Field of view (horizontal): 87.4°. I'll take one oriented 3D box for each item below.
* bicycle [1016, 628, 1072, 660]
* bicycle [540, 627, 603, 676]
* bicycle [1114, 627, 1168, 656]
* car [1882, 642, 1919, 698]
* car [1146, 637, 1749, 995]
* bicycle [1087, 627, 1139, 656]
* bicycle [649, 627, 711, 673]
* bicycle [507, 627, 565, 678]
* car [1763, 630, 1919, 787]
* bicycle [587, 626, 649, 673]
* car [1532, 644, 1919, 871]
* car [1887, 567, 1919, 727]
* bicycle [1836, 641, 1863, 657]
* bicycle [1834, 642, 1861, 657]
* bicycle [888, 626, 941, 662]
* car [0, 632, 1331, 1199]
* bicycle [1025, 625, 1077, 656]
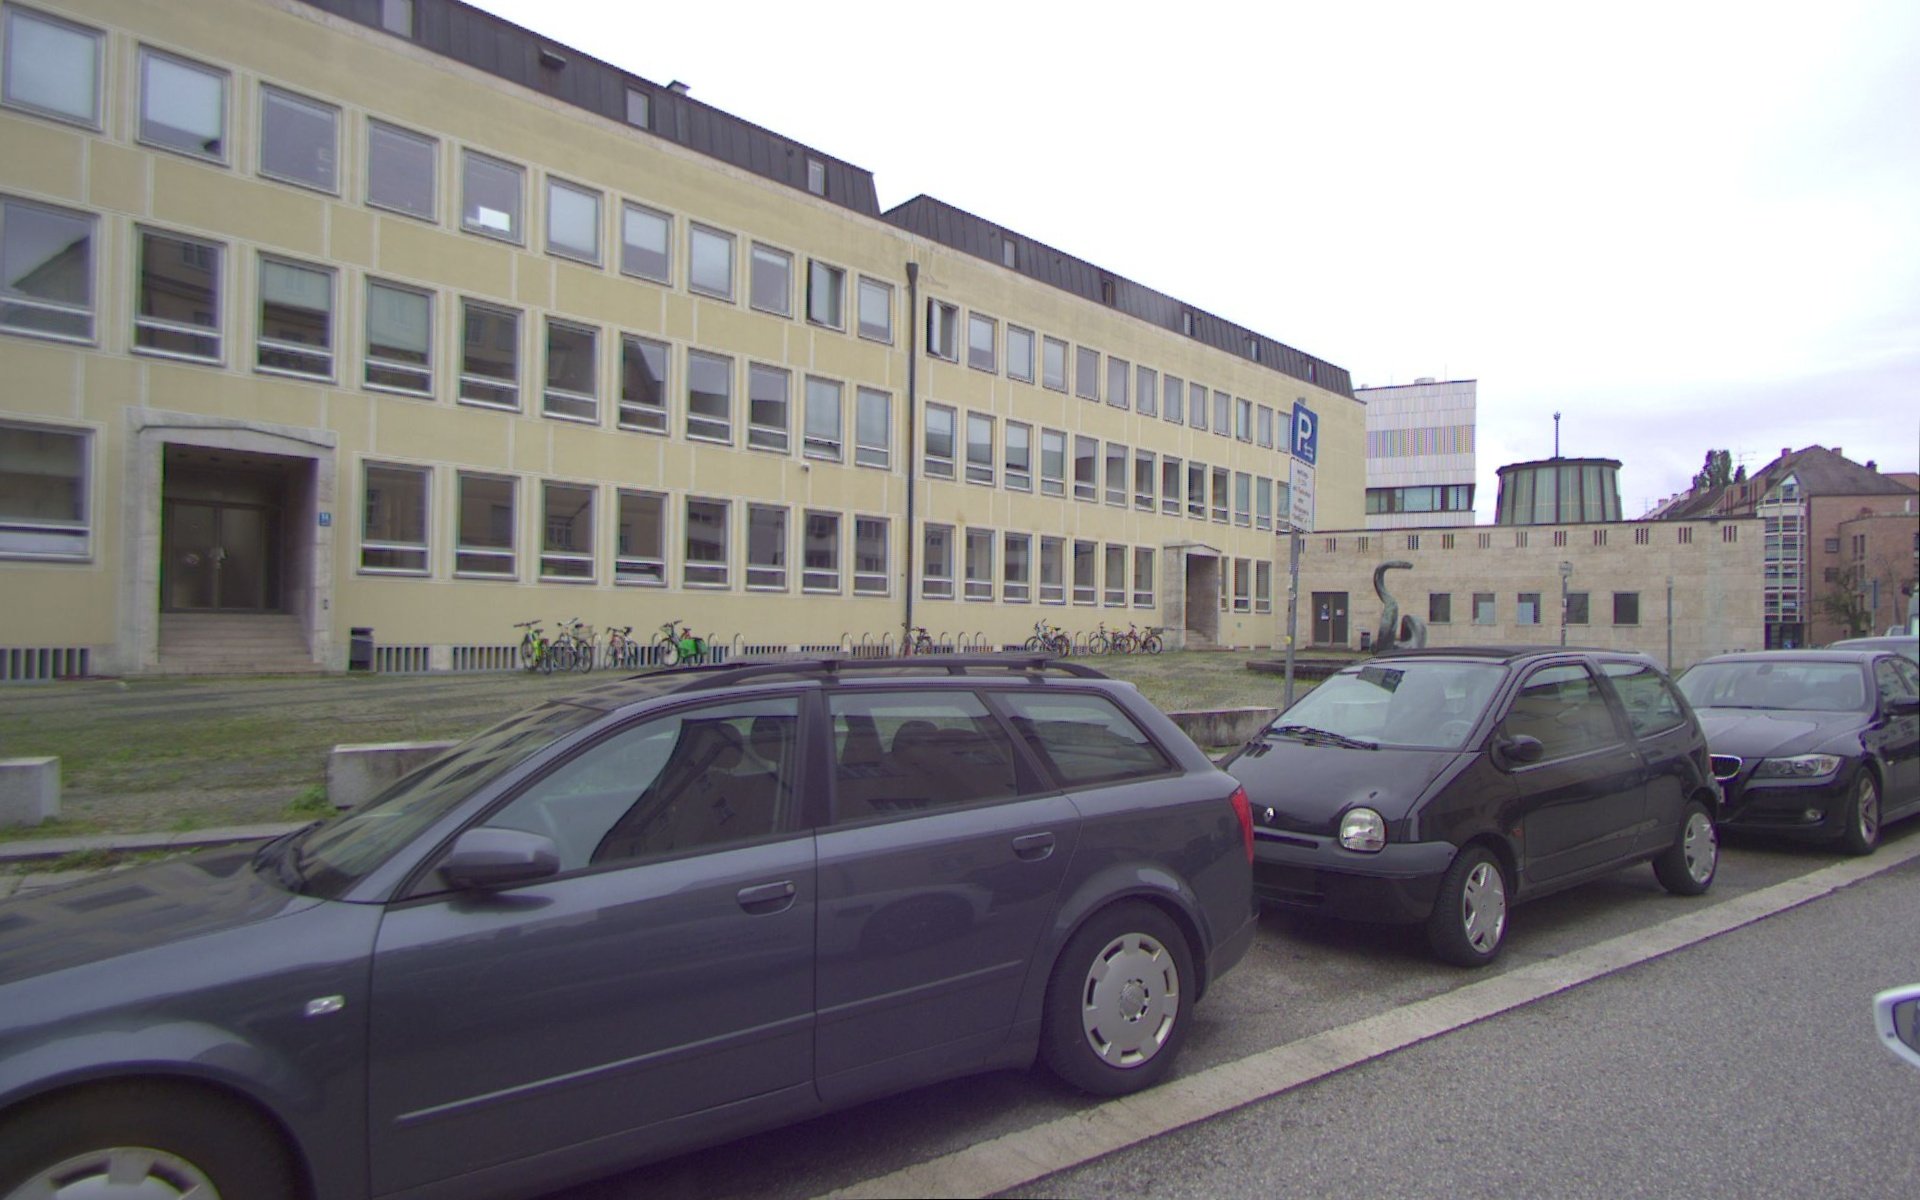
[{"bbox_3d":[2.799,1.471,33.777,1.926,1.028,0.622,0,-1,44],"label":"bicycle"},{"bbox_3d":[-8.617,1.121,22.233,0.621,1.028,1.928,1,-1,-43],"label":"bicycle"},{"bbox_3d":[6.714,1.533,37.352,1.923,1.028,0.623,0,-1,40],"label":"bicycle"},{"bbox_3d":[27.632,1.841,26.874,4.003,1.500,1.687,-2,-5,10],"label":"car"},{"bbox_3d":[2.845,0.966,5.758,3.276,1.472,1.647,1,-3,-33],"label":"car"},{"bbox_3d":[5.557,1.492,36.544,0.621,1.028,1.928,1,-1,-43],"label":"bicycle"},{"bbox_3d":[-6.754,1.183,24.175,0.621,1.028,1.928,1,-1,-43],"label":"bicycle"},{"bbox_3d":[-9.114,1.110,21.564,0.620,1.028,1.931,1,-1,-39],"label":"bicycle"},{"bbox_3d":[10.255,1.102,10.904,2.949,1.521,1.659,2,-3,-36],"label":"car"},{"bbox_3d":[-7.954,1.132,23.323,0.621,1.028,1.928,1,-1,-43],"label":"bicycle"},{"bbox_3d":[6.792,1.082,8.341,4.409,1.424,1.788,2,-3,-34],"label":"car"},{"bbox_3d":[18.668,0.830,18.366,5.977,2.676,2.143,2,-3,-44],"label":"car"},{"bbox_3d":[79.804,4.391,90.154,1.728,1.305,0.552,0,-1,30],"label":"bicycle"},{"bbox_3d":[80.135,4.436,90.732,1.728,1.305,0.552,0,-1,30],"label":"bicycle"},{"bbox_3d":[-1.384,1.309,30.106,0.619,1.028,1.933,1,-1,-36],"label":"bicycle"},{"bbox_3d":[-0.935,0.867,3.356,4.345,1.472,1.746,1,-3,-31],"label":"car"},{"bbox_3d":[3.132,1.380,34.644,0.620,1.028,1.931,1,-1,-39],"label":"bicycle"}]
